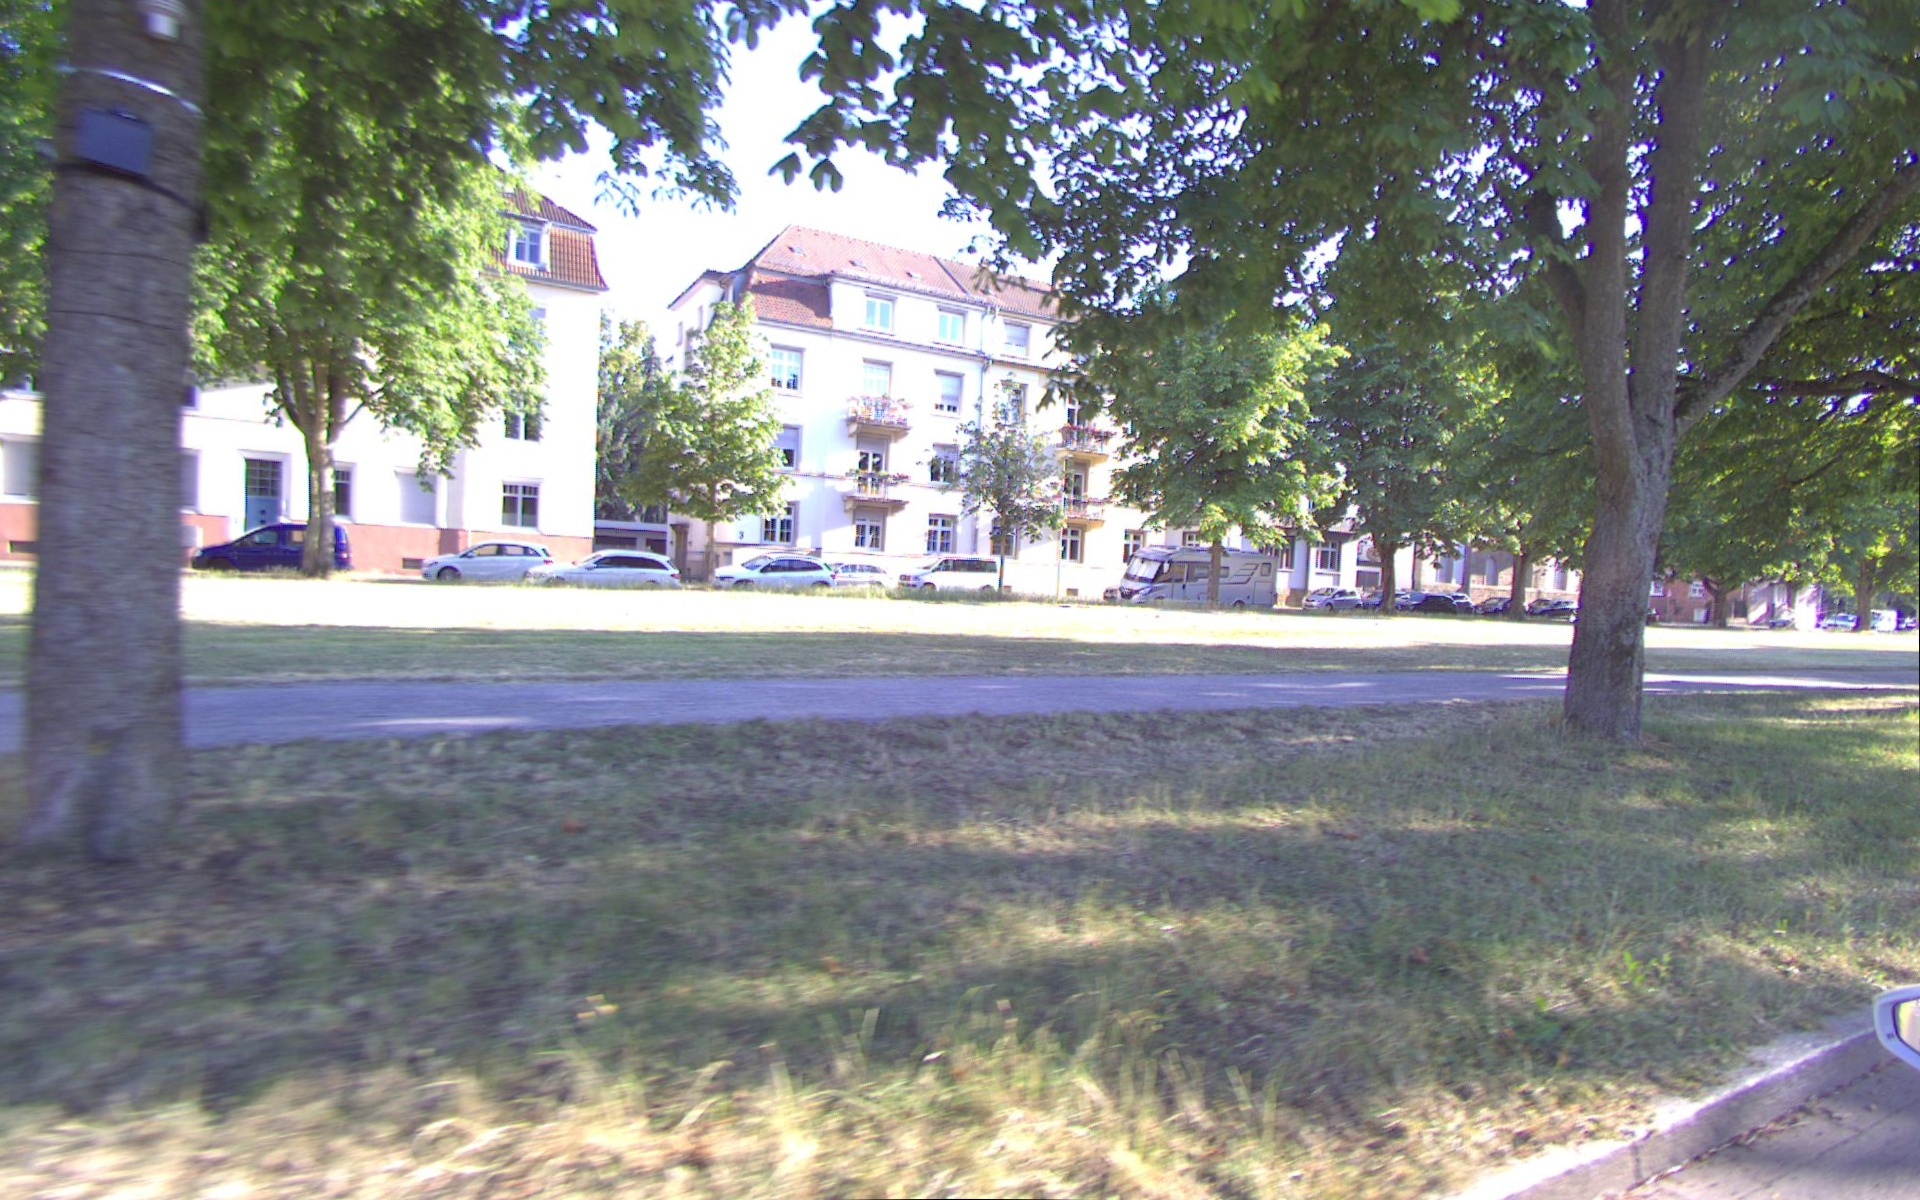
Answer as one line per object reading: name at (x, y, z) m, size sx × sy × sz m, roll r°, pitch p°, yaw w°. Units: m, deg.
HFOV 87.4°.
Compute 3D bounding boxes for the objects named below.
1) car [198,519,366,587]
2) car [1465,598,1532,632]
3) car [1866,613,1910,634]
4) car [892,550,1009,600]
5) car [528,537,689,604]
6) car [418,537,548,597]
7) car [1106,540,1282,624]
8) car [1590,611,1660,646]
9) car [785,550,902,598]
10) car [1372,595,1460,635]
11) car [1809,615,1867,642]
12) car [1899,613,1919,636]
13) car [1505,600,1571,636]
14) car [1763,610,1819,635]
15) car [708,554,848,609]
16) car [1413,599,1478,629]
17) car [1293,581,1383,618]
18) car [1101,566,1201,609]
car at (-21.876, -1.521, 32.630) m, size 4.258 × 1.759 × 1.985 m, roll 3°, pitch 4°, yaw -28°
car at (34.739, 0.996, 64.792) m, size 3.870 × 1.827 × 1.856 m, roll 3°, pitch 4°, yaw -30°
car at (89.294, 2.295, 96.614) m, size 3.955 × 1.639 × 1.983 m, roll 3°, pitch 4°, yaw -31°
car at (-0.398, -1.114, 44.891) m, size 4.822 × 1.976 × 1.983 m, roll 2°, pitch 2°, yaw -31°
car at (-11.158, -0.920, 31.912) m, size 4.514 × 1.681 × 1.985 m, roll 3°, pitch 4°, yaw -28°
car at (-16.742, -1.168, 35.284) m, size 3.951 × 1.681 × 1.985 m, roll 3°, pitch 5°, yaw -28°
car at (10.378, -0.750, 44.203) m, size 7.759 × 3.173 × 2.381 m, roll 2°, pitch 5°, yaw -30°
car at (40.966, 1.781, 61.865) m, size 4.072 × 1.804 × 1.803 m, roll 3°, pitch 4°, yaw -29°
car at (-4.864, -1.063, 42.039) m, size 4.422 × 1.663 × 1.833 m, roll 2°, pitch 4°, yaw -29°
car at (23.625, 0.764, 52.058) m, size 4.263 × 1.696 × 1.871 m, roll 3°, pitch 4°, yaw -29°
car at (67.324, 2.197, 77.000) m, size 3.936 × 1.681 × 2.014 m, roll 3°, pitch 4°, yaw -29°
car at (83.539, 2.208, 87.329) m, size 3.836 × 1.711 × 1.719 m, roll 4°, pitch 3°, yaw -31°
car at (38.690, 1.207, 67.221) m, size 3.955 × 2.040 × 1.983 m, roll 3°, pitch 4°, yaw -31°
car at (69.602, 1.909, 84.119) m, size 4.301 × 1.681 × 1.985 m, roll 3°, pitch 4°, yaw -28°
car at (-6.279, -0.625, 34.700) m, size 4.369 × 1.575 × 1.786 m, roll 2°, pitch 5°, yaw -31°
car at (30.007, 0.870, 62.057) m, size 3.747 × 1.604 × 1.749 m, roll 2°, pitch 5°, yaw -30°
car at (21.593, -0.025, 57.380) m, size 5.102 × 1.712 × 1.983 m, roll 3°, pitch 4°, yaw -32°
car at (9.474, -0.602, 49.695) m, size 4.514 × 1.681 × 1.985 m, roll 3°, pitch 4°, yaw -28°
